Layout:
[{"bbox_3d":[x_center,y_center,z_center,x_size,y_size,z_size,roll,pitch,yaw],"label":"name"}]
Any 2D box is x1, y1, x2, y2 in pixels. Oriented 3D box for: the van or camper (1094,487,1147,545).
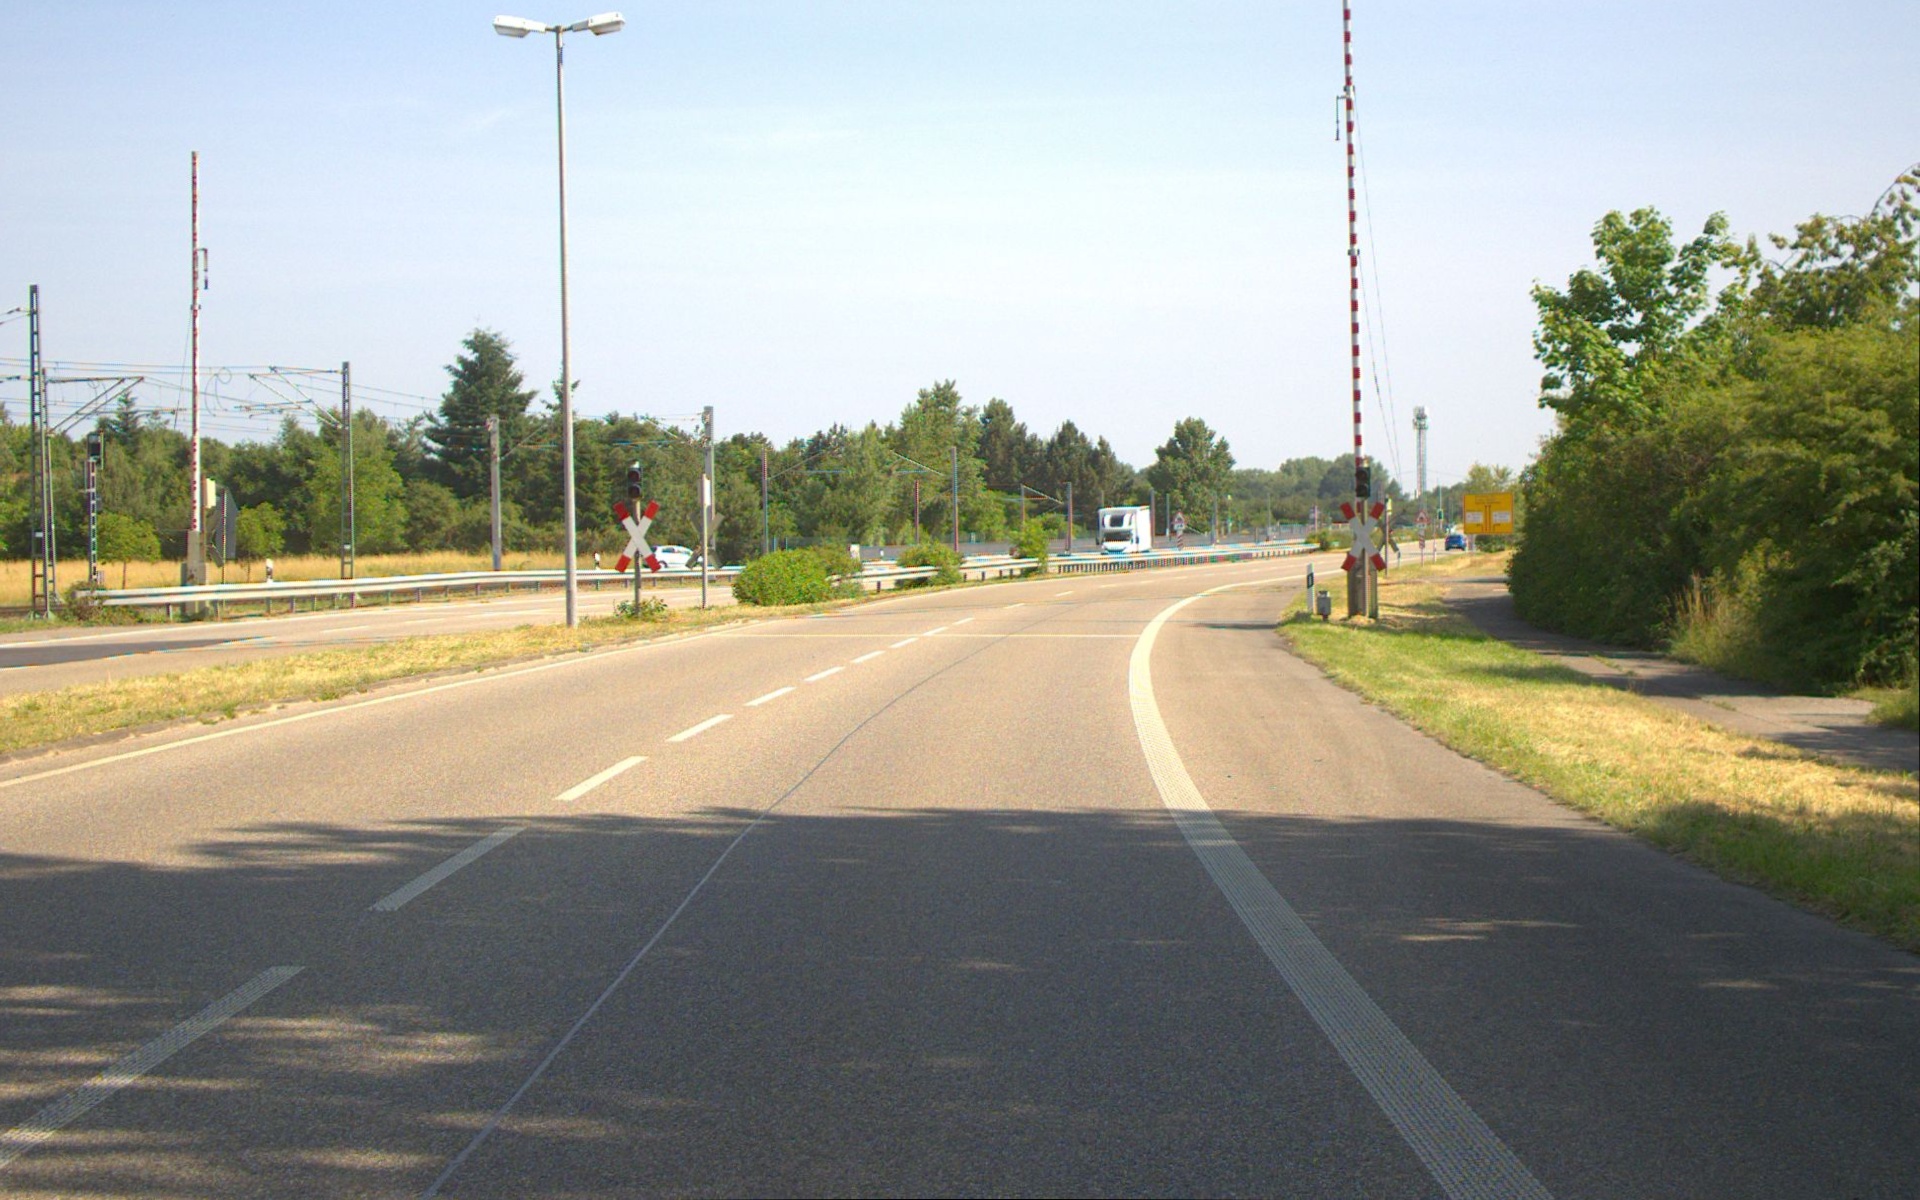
[{"bbox_3d":[10.498,-5.485,225.334,2.876,3.668,8.644,-1,1,-1],"label":"van or camper"}]
